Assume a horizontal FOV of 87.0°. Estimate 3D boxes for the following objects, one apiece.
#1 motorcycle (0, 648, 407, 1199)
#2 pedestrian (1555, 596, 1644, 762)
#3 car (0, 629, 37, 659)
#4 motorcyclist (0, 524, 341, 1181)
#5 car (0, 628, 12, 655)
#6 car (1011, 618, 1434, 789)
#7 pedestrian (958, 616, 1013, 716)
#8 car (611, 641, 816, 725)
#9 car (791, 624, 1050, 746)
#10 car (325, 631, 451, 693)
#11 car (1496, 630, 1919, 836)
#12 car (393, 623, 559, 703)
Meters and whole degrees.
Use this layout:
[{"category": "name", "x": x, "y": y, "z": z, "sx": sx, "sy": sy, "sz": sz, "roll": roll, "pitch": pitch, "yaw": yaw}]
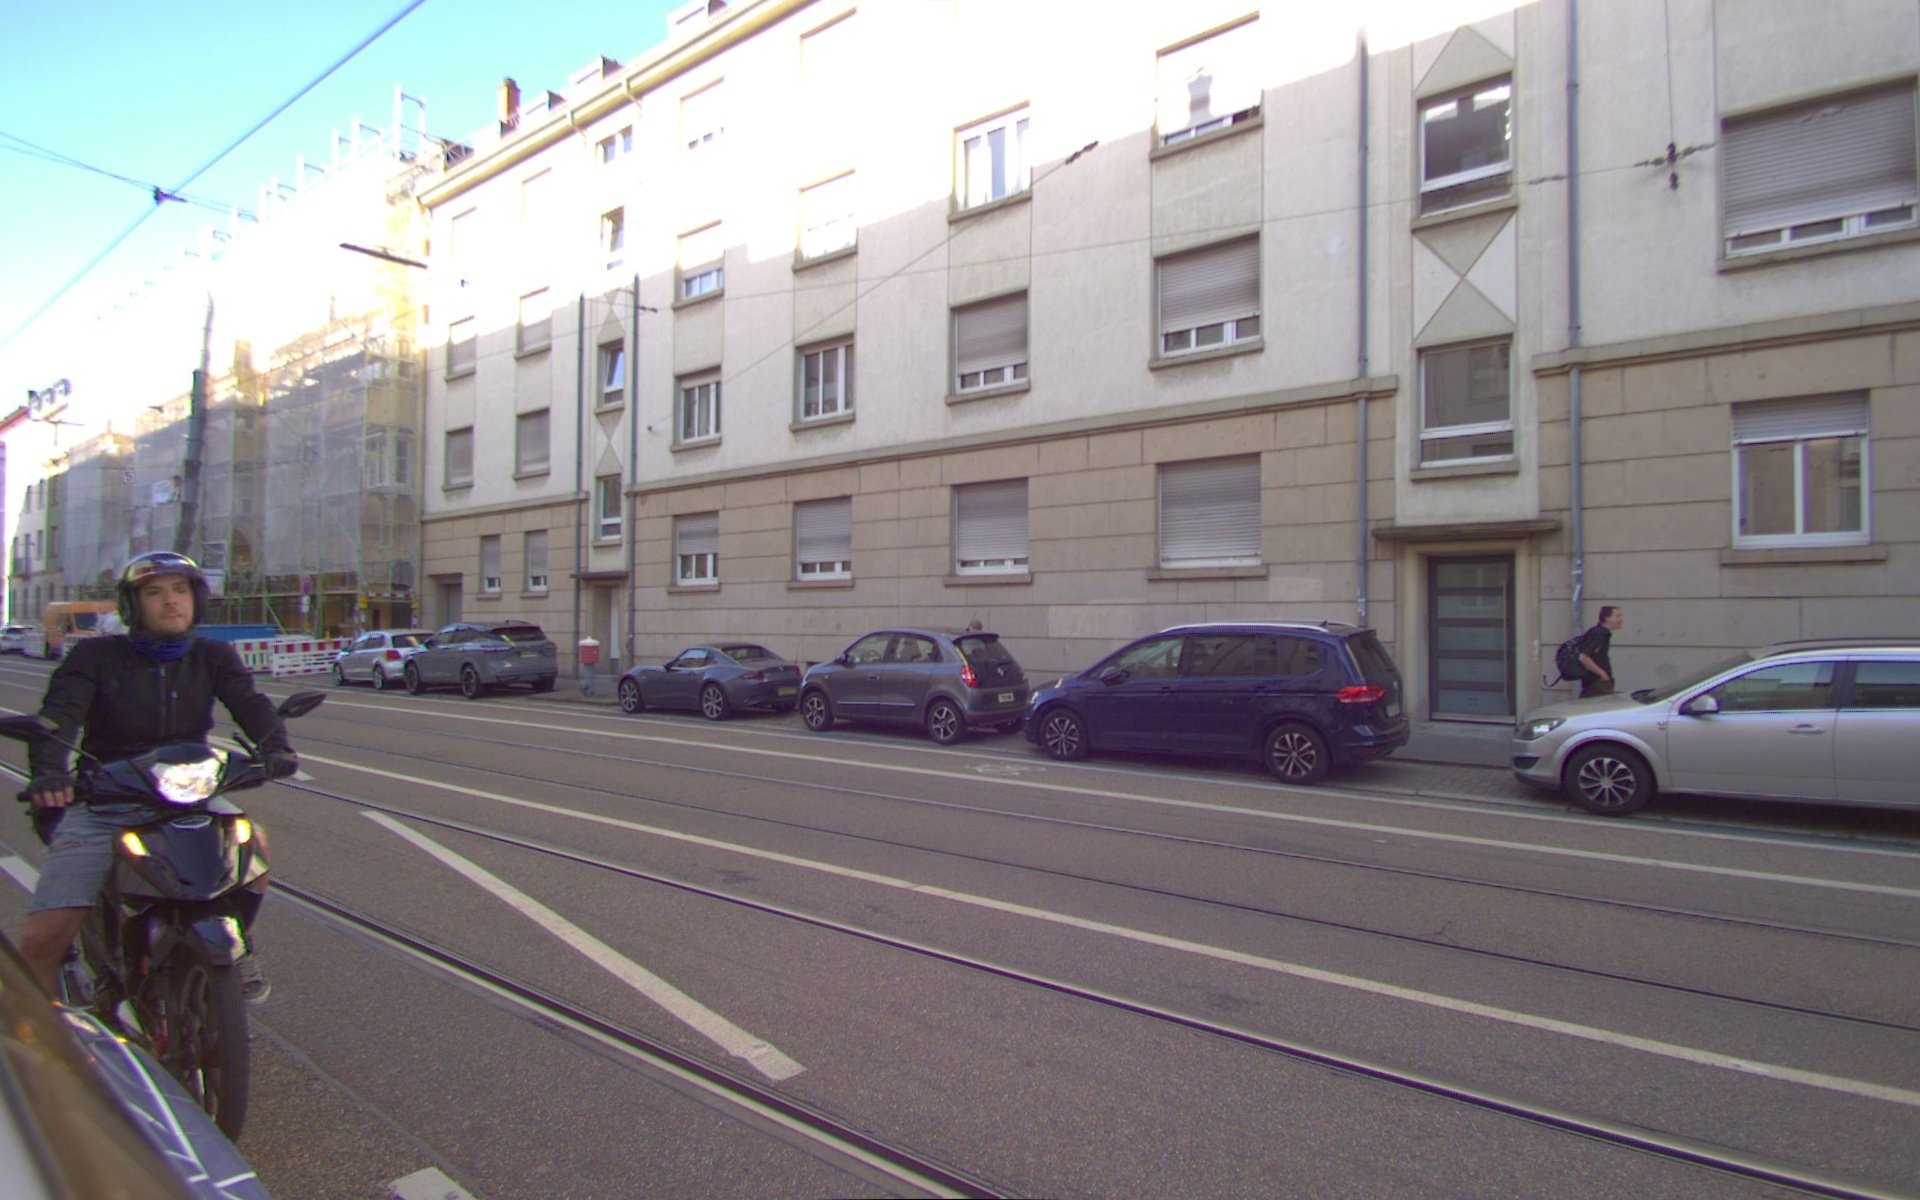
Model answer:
[{"category": "motorcycle", "x": -2.641, "y": 0.821, "z": 3.239, "sx": 2.272, "sy": 1.302, "sz": 0.781, "roll": -2, "pitch": -3, "yaw": 41}, {"category": "pedestrian", "x": 6.912, "y": 0.830, "z": 10.940, "sx": 0.729, "sy": 1.722, "sz": 0.597, "roll": -2, "pitch": -3, "yaw": 39}, {"category": "car", "x": -50.067, "y": 2.275, "z": 53.344, "sx": 3.964, "sy": 1.498, "sz": 1.662, "roll": -2, "pitch": -1, "yaw": 42}, {"category": "motorcyclist", "x": -2.544, "y": 0.659, "z": 3.162, "sx": 0.899, "sy": 1.668, "sz": 0.781, "roll": -2, "pitch": -3, "yaw": 41}, {"category": "car", "x": -54.582, "y": 2.330, "z": 56.820, "sx": 3.964, "sy": 1.498, "sz": 1.662, "roll": -2, "pitch": -1, "yaw": 42}, {"category": "car", "x": 2.891, "y": 1.035, "z": 11.677, "sx": 4.383, "sy": 1.611, "sz": 1.779, "roll": -1, "pitch": -1, "yaw": 38}, {"category": "pedestrian", "x": 0.405, "y": 1.041, "z": 16.153, "sx": 0.693, "sy": 1.553, "sz": 0.563, "roll": -2, "pitch": -3, "yaw": 39}, {"category": "car", "x": -4.316, "y": 1.369, "z": 17.502, "sx": 3.681, "sy": 1.244, "sz": 1.502, "roll": -1, "pitch": -1, "yaw": 38}, {"category": "car", "x": -0.630, "y": 1.136, "z": 14.656, "sx": 3.535, "sy": 1.539, "sz": 1.659, "roll": -1, "pitch": -1, "yaw": 38}, {"category": "car", "x": -14.386, "y": 1.502, "z": 25.399, "sx": 3.506, "sy": 1.423, "sz": 1.524, "roll": -1, "pitch": -1, "yaw": 38}, {"category": "car", "x": 7.124, "y": 1.005, "z": 8.503, "sx": 4.383, "sy": 1.489, "sz": 1.779, "roll": -1, "pitch": -1, "yaw": 38}, {"category": "car", "x": -10.884, "y": 1.337, "z": 22.662, "sx": 4.201, "sy": 1.611, "sz": 1.675, "roll": -1, "pitch": -1, "yaw": 38}]
